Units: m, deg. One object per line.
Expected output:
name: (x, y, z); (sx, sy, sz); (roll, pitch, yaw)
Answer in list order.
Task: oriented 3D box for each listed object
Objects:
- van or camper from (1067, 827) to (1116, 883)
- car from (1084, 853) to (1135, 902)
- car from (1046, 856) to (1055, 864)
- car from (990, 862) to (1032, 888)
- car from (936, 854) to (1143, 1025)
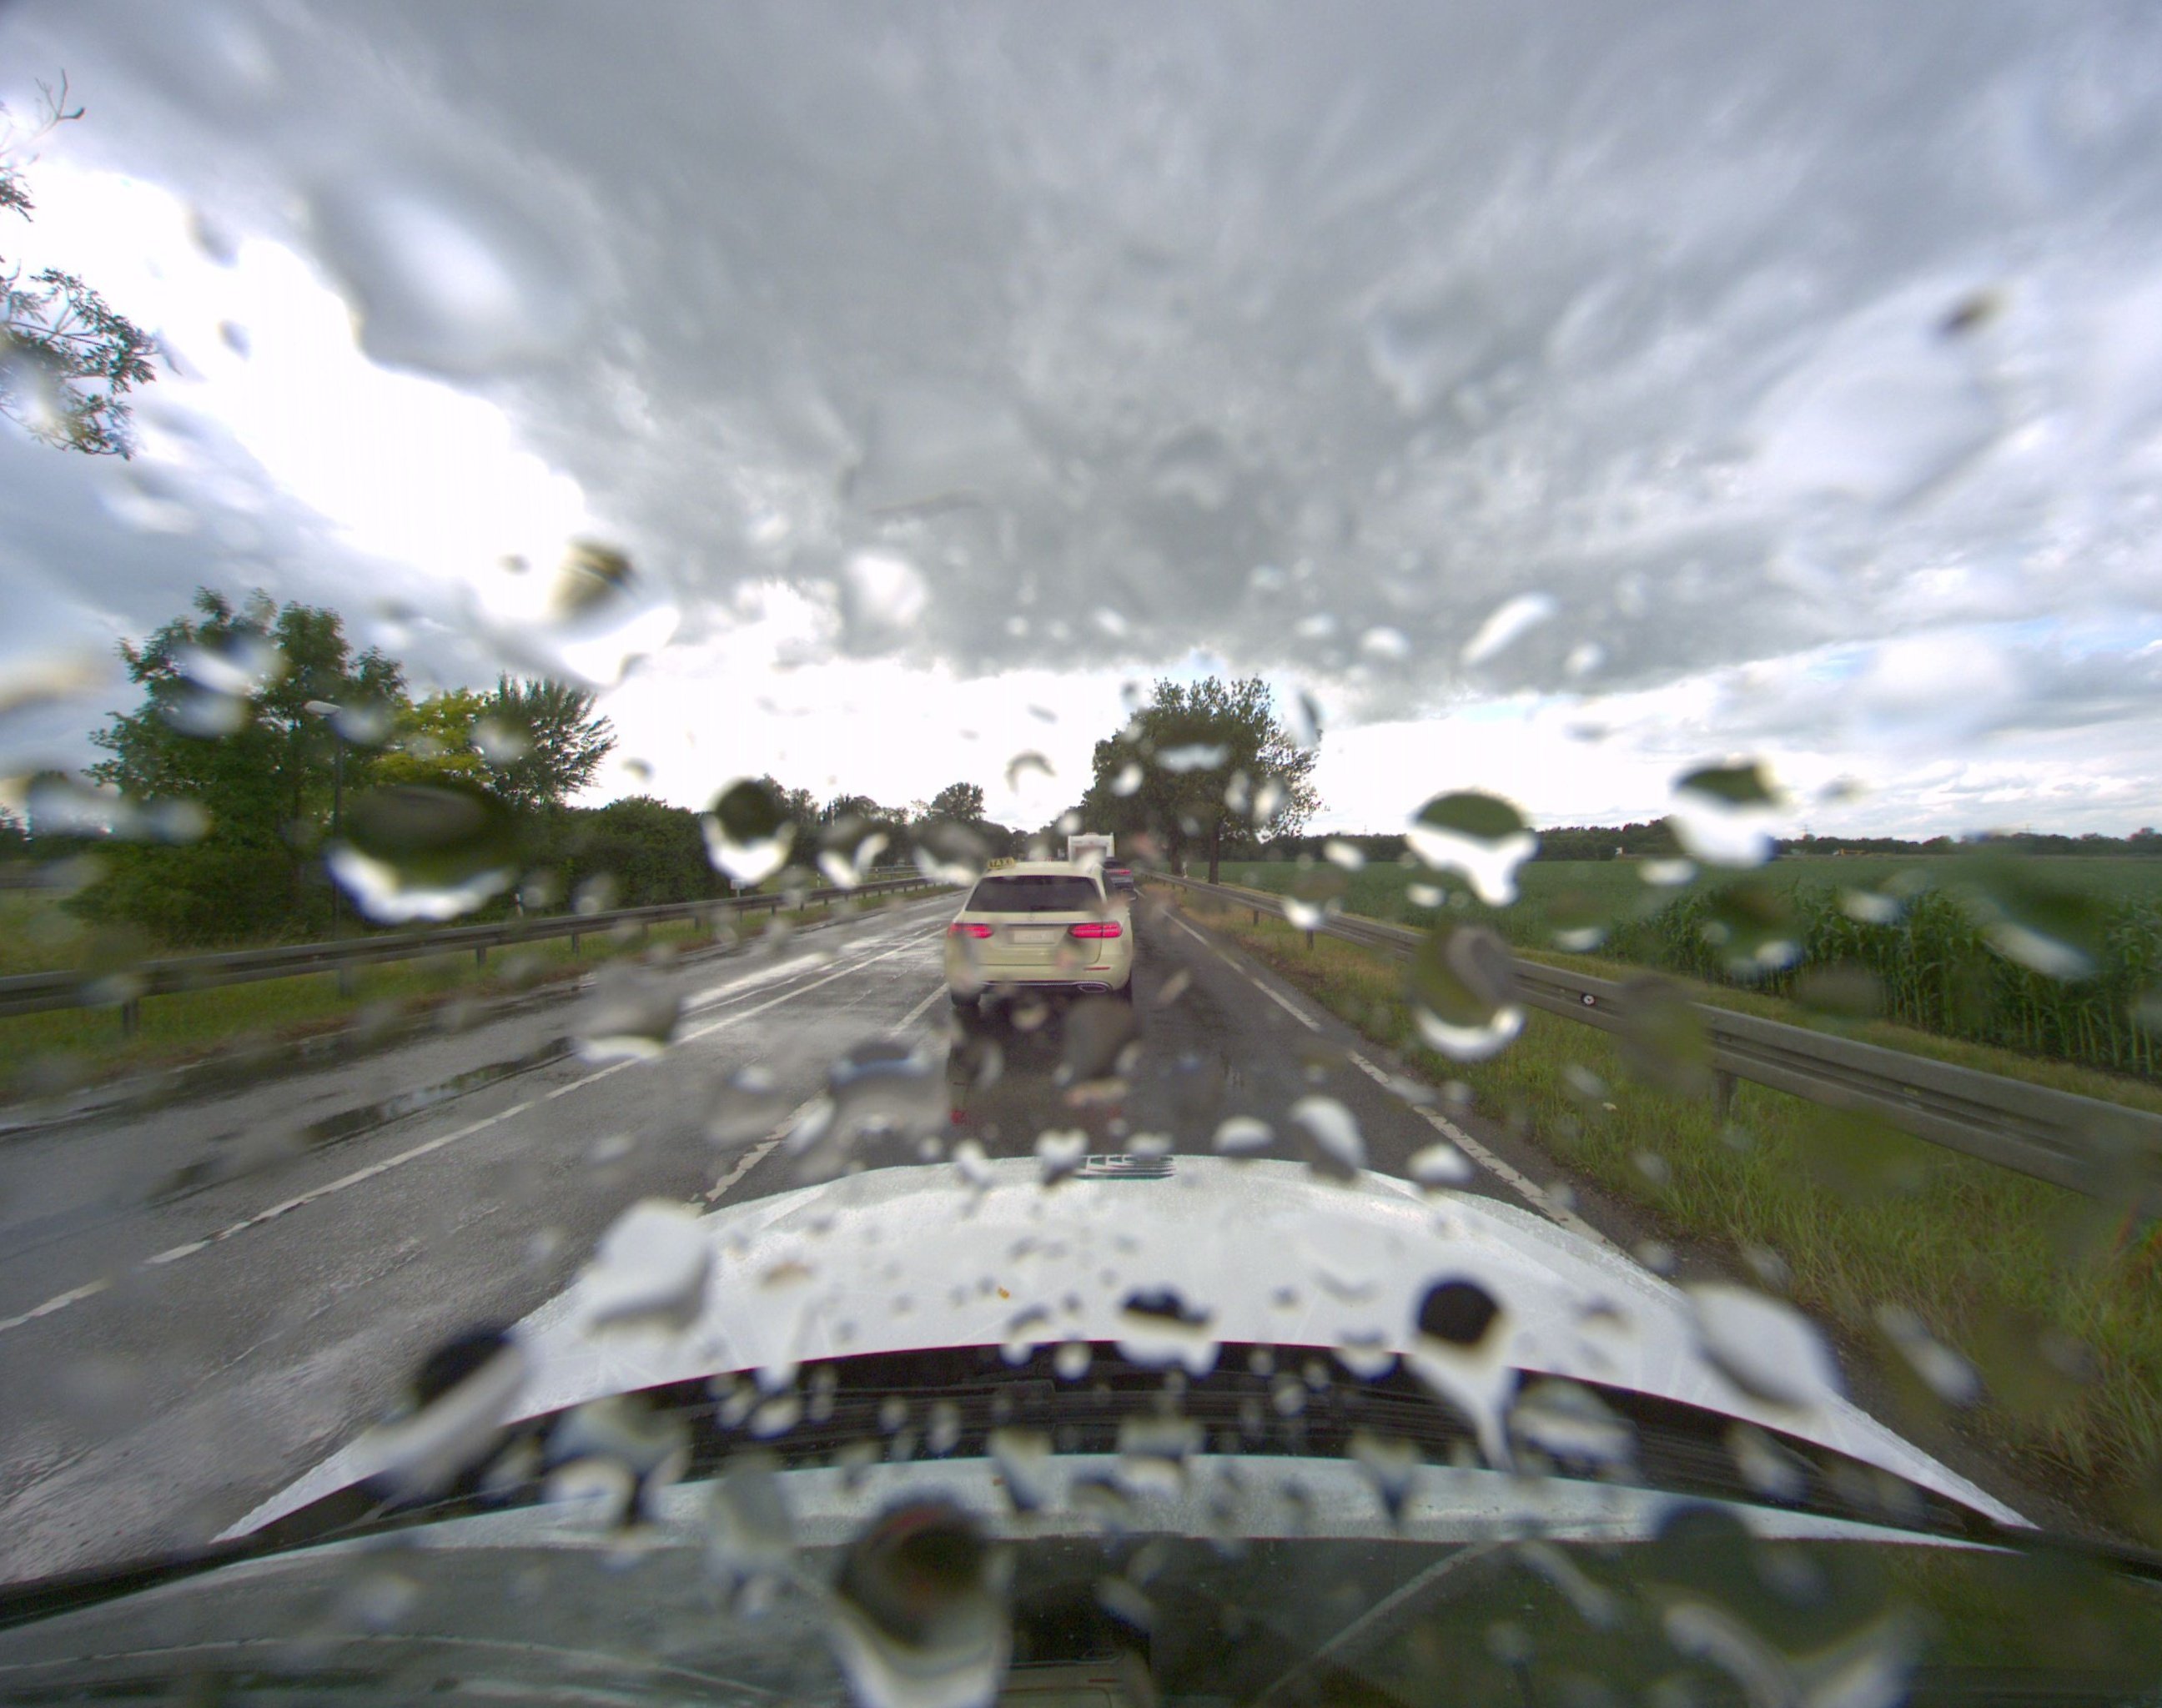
van or camper: (0.593, 0.021, 42.269); (2.342, 2.680, 5.771); (0, 0, 2)
car: (0.991, 0.754, 28.123); (1.621, 1.529, 3.934); (-1, 0, 2)
car: (-7.862, 1.467, 209.555); (1.987, 2.051, 4.000); (0, 0, 0)
car: (-3.716, 1.109, 43.817); (1.752, 1.269, 4.002); (-1, 0, 2)
car: (-0.267, 0.767, 9.321); (1.817, 1.485, 4.148); (-1, 0, 3)
